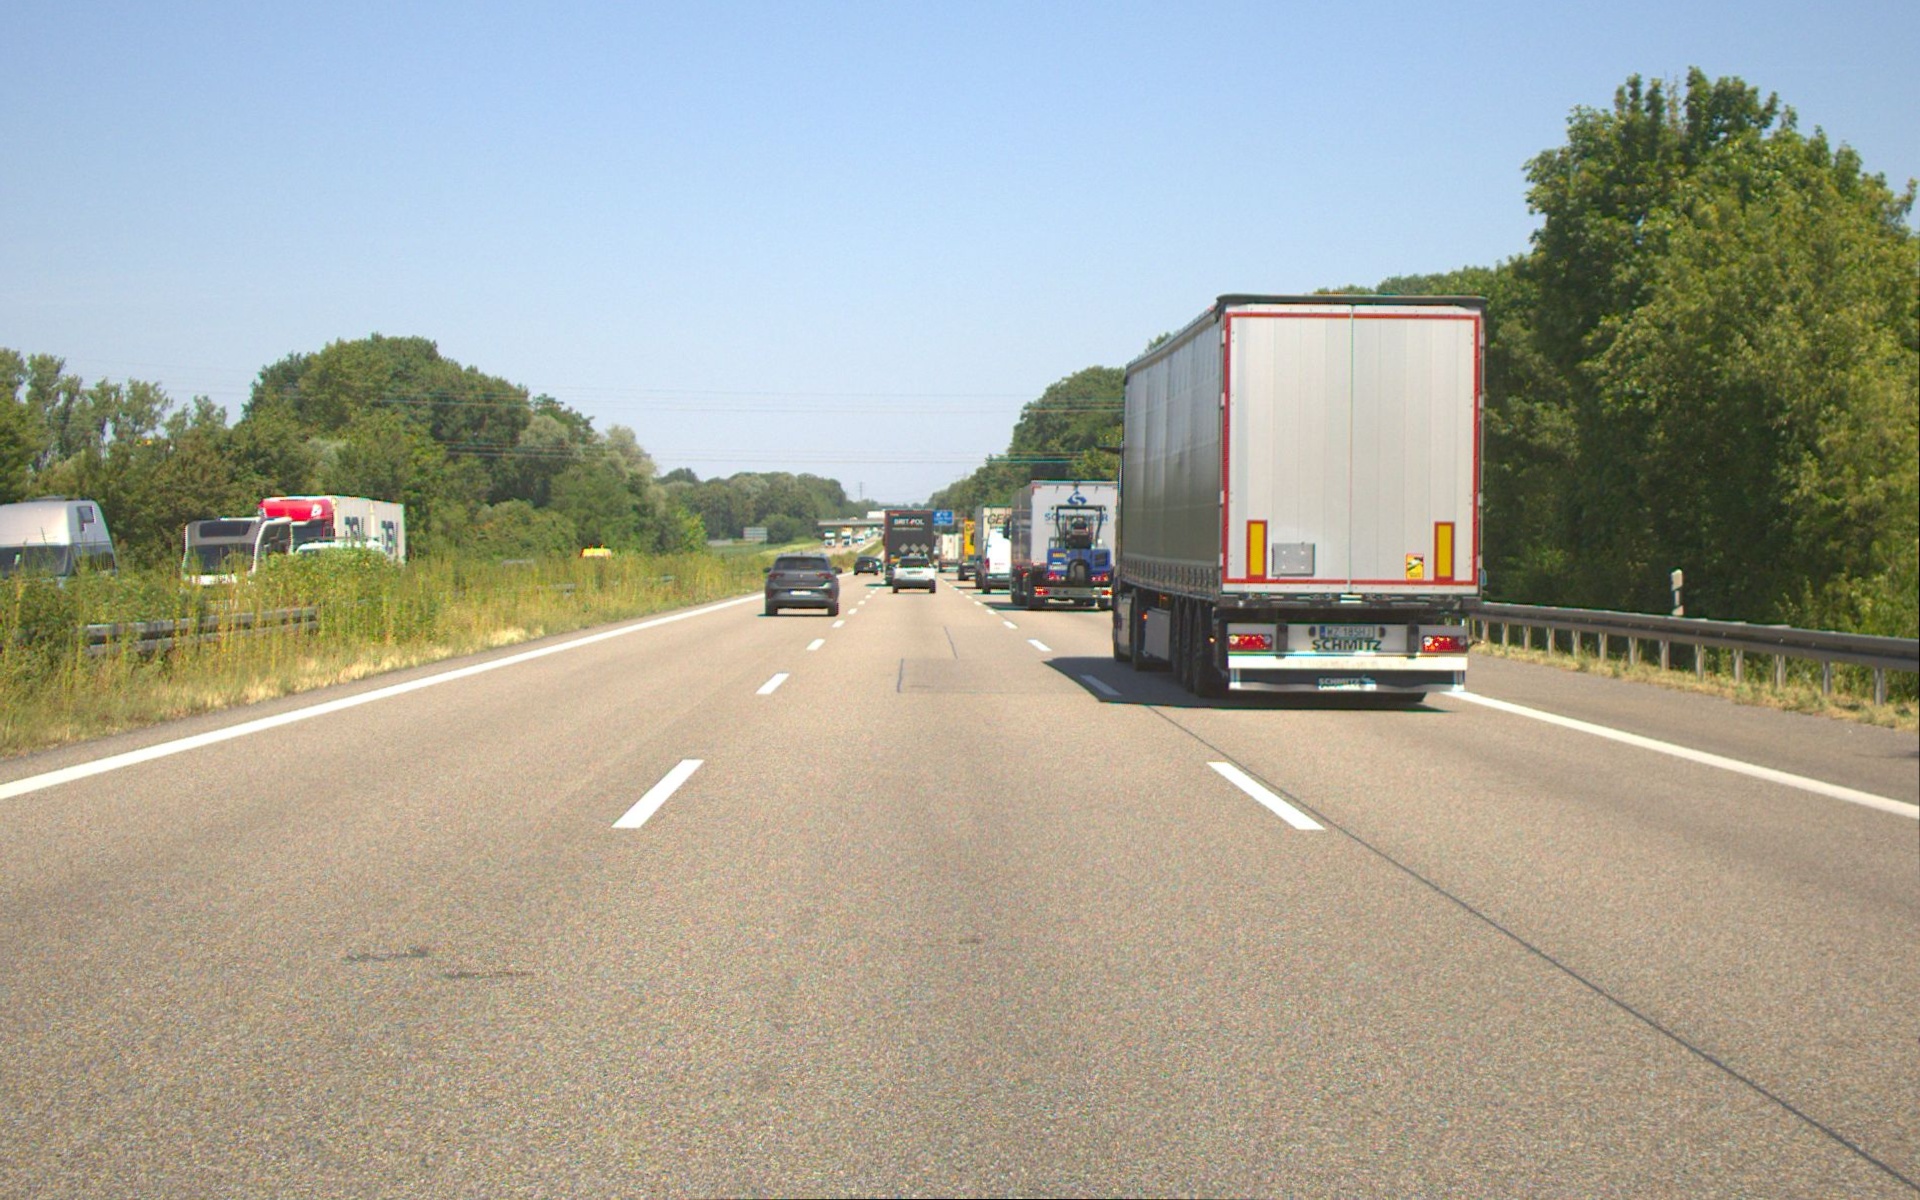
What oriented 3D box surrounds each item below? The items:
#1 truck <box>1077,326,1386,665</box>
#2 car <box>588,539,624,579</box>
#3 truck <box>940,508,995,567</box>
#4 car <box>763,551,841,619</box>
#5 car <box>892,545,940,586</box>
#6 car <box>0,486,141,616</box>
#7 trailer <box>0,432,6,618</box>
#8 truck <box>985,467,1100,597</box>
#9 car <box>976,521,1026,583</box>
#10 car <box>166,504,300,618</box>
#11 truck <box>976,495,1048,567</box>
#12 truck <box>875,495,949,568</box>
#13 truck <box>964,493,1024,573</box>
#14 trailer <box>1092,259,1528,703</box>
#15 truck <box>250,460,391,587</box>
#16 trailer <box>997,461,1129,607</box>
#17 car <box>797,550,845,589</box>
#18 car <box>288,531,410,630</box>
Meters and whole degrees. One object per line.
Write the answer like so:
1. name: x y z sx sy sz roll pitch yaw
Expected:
1. truck: 3.499 -1.321 46.296 3.464 4.163 6.844 1 0 -1
2. car: -24.252 -2.839 235.608 2.102 2.548 6.187 -1 2 -3
3. truck: 0.504 -4.127 225.816 3.489 3.713 7.108 1 2 0
4. car: -3.906 -0.395 85.642 1.759 1.525 4.286 1 2 -1
5. car: -1.821 -1.434 142.192 1.900 1.525 4.084 1 2 -1
6. car: -17.294 -0.934 65.611 2.209 2.354 5.299 -1 1 -2
7. trailer: -22.178 -1.452 68.592 3.047 4.025 12.235 0 2 -1
8. truck: 2.521 -2.196 108.699 3.057 3.865 10.035 1 2 -2
9. car: 1.682 -1.994 141.338 1.907 2.417 4.286 1 2 -1
10. car: -18.830 -1.040 89.362 2.328 2.812 6.609 -1 1 -2
11. truck: 2.741 -3.692 182.075 3.667 3.713 7.108 1 2 0
12. truck: -2.501 -3.681 182.004 3.667 3.713 7.108 1 2 0
13. truck: 1.639 -3.290 165.711 2.792 3.713 7.108 1 2 0
14. trailer: 3.594 -1.243 39.573 3.434 4.167 13.633 1 1 0
15. truck: -22.786 -2.771 123.083 3.071 4.295 10.628 1 2 0
16. trailer: 2.865 -1.948 98.754 3.122 3.913 9.938 1 2 -2
17. car: -5.889 -1.306 145.723 1.900 1.525 4.084 1 2 -1
18. car: -13.410 -0.460 75.729 1.925 2.113 5.279 0 1 -2
